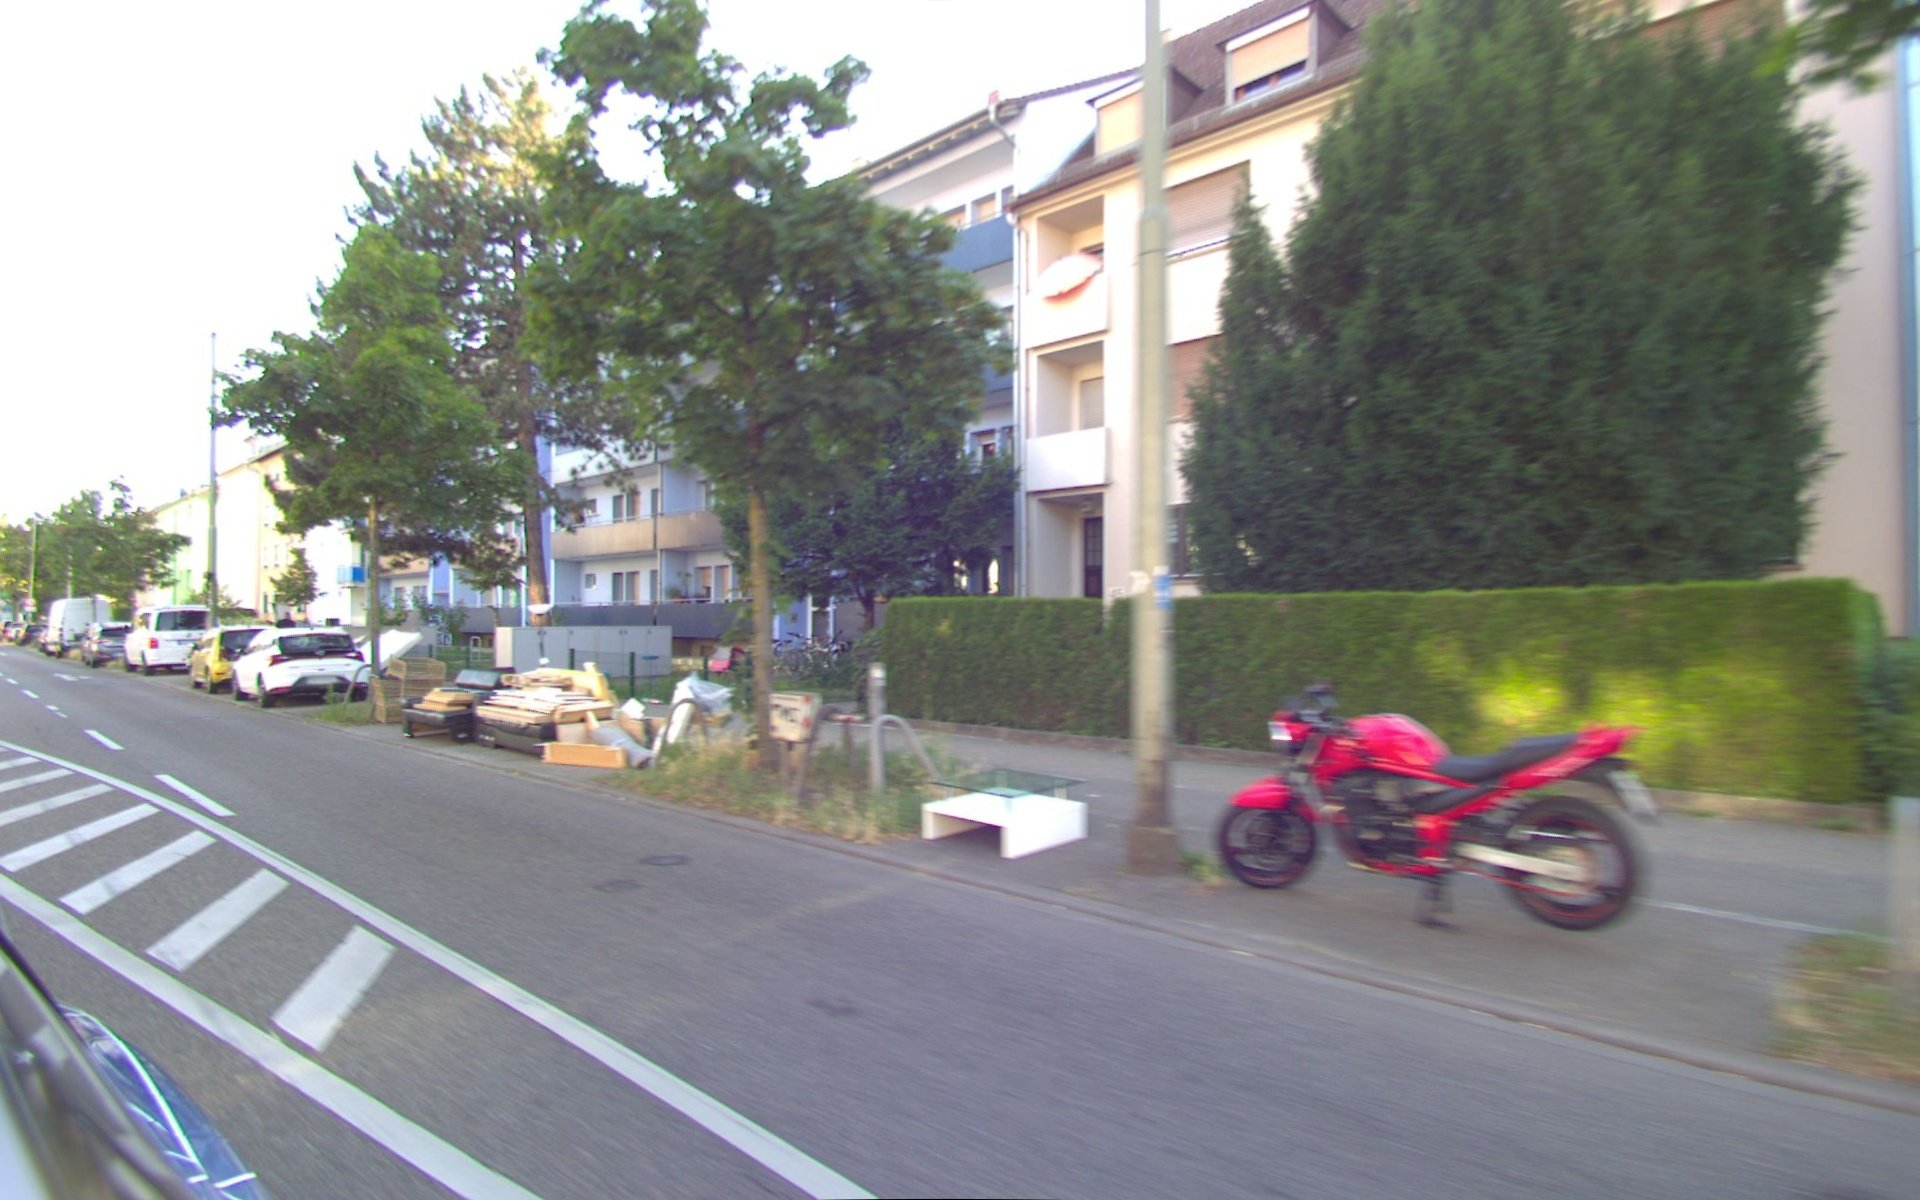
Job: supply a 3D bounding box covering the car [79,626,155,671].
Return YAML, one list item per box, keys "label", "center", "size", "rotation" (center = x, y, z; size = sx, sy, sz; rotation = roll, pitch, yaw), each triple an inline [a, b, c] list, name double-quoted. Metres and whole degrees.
- label: "car"
  center: [-30.665, 1.716, 36.786]
  size: [1.783, 1.509, 3.959]
  rotation: [1, -2, -45]

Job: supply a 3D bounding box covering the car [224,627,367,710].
- label: "car"
  center: [-13.313, 1.296, 20.179]
  size: [1.661, 1.454, 3.883]
  rotation: [0, -1, -45]

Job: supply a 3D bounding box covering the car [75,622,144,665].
- label: "car"
  center: [-34.123, 1.696, 40.566]
  size: [1.783, 1.603, 3.959]
  rotation: [1, -2, -45]

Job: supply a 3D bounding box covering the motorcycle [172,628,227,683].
- label: "motorcycle"
  center: [-20.714, 1.487, 27.594]
  size: [0.780, 1.412, 2.024]
  rotation: [1, -2, -25]

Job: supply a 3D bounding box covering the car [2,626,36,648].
- label: "car"
  center: [-72.082, 2.797, 77.492]
  size: [1.783, 1.609, 3.959]
  rotation: [1, -2, -45]

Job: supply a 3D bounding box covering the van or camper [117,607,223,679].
- label: "van or camper"
  center: [-24.203, 1.271, 30.958]
  size: [4.864, 2.029, 1.785]
  rotation: [-1, -1, 43]

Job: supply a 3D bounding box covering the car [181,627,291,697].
- label: "car"
  center: [-16.971, 1.394, 23.666]
  size: [1.556, 1.480, 3.492]
  rotation: [0, -1, -45]

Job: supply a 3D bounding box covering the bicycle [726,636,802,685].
- label: "bicycle"
  center: [-4.511, 1.373, 23.231]
  size: [1.739, 1.104, 0.528]
  rotation: [-1, -2, 25]

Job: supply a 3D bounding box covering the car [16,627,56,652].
- label: "car"
  center: [-56.548, 2.379, 61.981]
  size: [1.737, 1.459, 3.595]
  rotation: [1, -2, -42]

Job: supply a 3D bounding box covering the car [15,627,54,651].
- label: "car"
  center: [-59.273, 2.480, 64.855]
  size: [1.737, 1.459, 3.790]
  rotation: [1, -2, -42]

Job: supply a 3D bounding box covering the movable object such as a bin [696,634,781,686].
- label: "movable object such as a bin"
  center: [-4.748, 1.258, 21.724]
  size: [1.061, 1.057, 1.445]
  rotation: [-1, -2, 43]

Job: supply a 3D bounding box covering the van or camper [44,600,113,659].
- label: "van or camper"
  center: [-40.583, 1.350, 46.553]
  size: [5.336, 2.562, 1.891]
  rotation: [-1, -2, 44]

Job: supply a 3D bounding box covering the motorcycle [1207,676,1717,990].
- label: "motorcycle"
  center: [2.381, 1.012, 5.039]
  size: [2.172, 1.145, 0.632]
  rotation: [-1, 0, 41]

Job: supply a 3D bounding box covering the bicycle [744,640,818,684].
- label: "bicycle"
  center: [-4.205, 1.446, 23.734]
  size: [1.739, 0.996, 0.499]
  rotation: [-1, -2, 25]
